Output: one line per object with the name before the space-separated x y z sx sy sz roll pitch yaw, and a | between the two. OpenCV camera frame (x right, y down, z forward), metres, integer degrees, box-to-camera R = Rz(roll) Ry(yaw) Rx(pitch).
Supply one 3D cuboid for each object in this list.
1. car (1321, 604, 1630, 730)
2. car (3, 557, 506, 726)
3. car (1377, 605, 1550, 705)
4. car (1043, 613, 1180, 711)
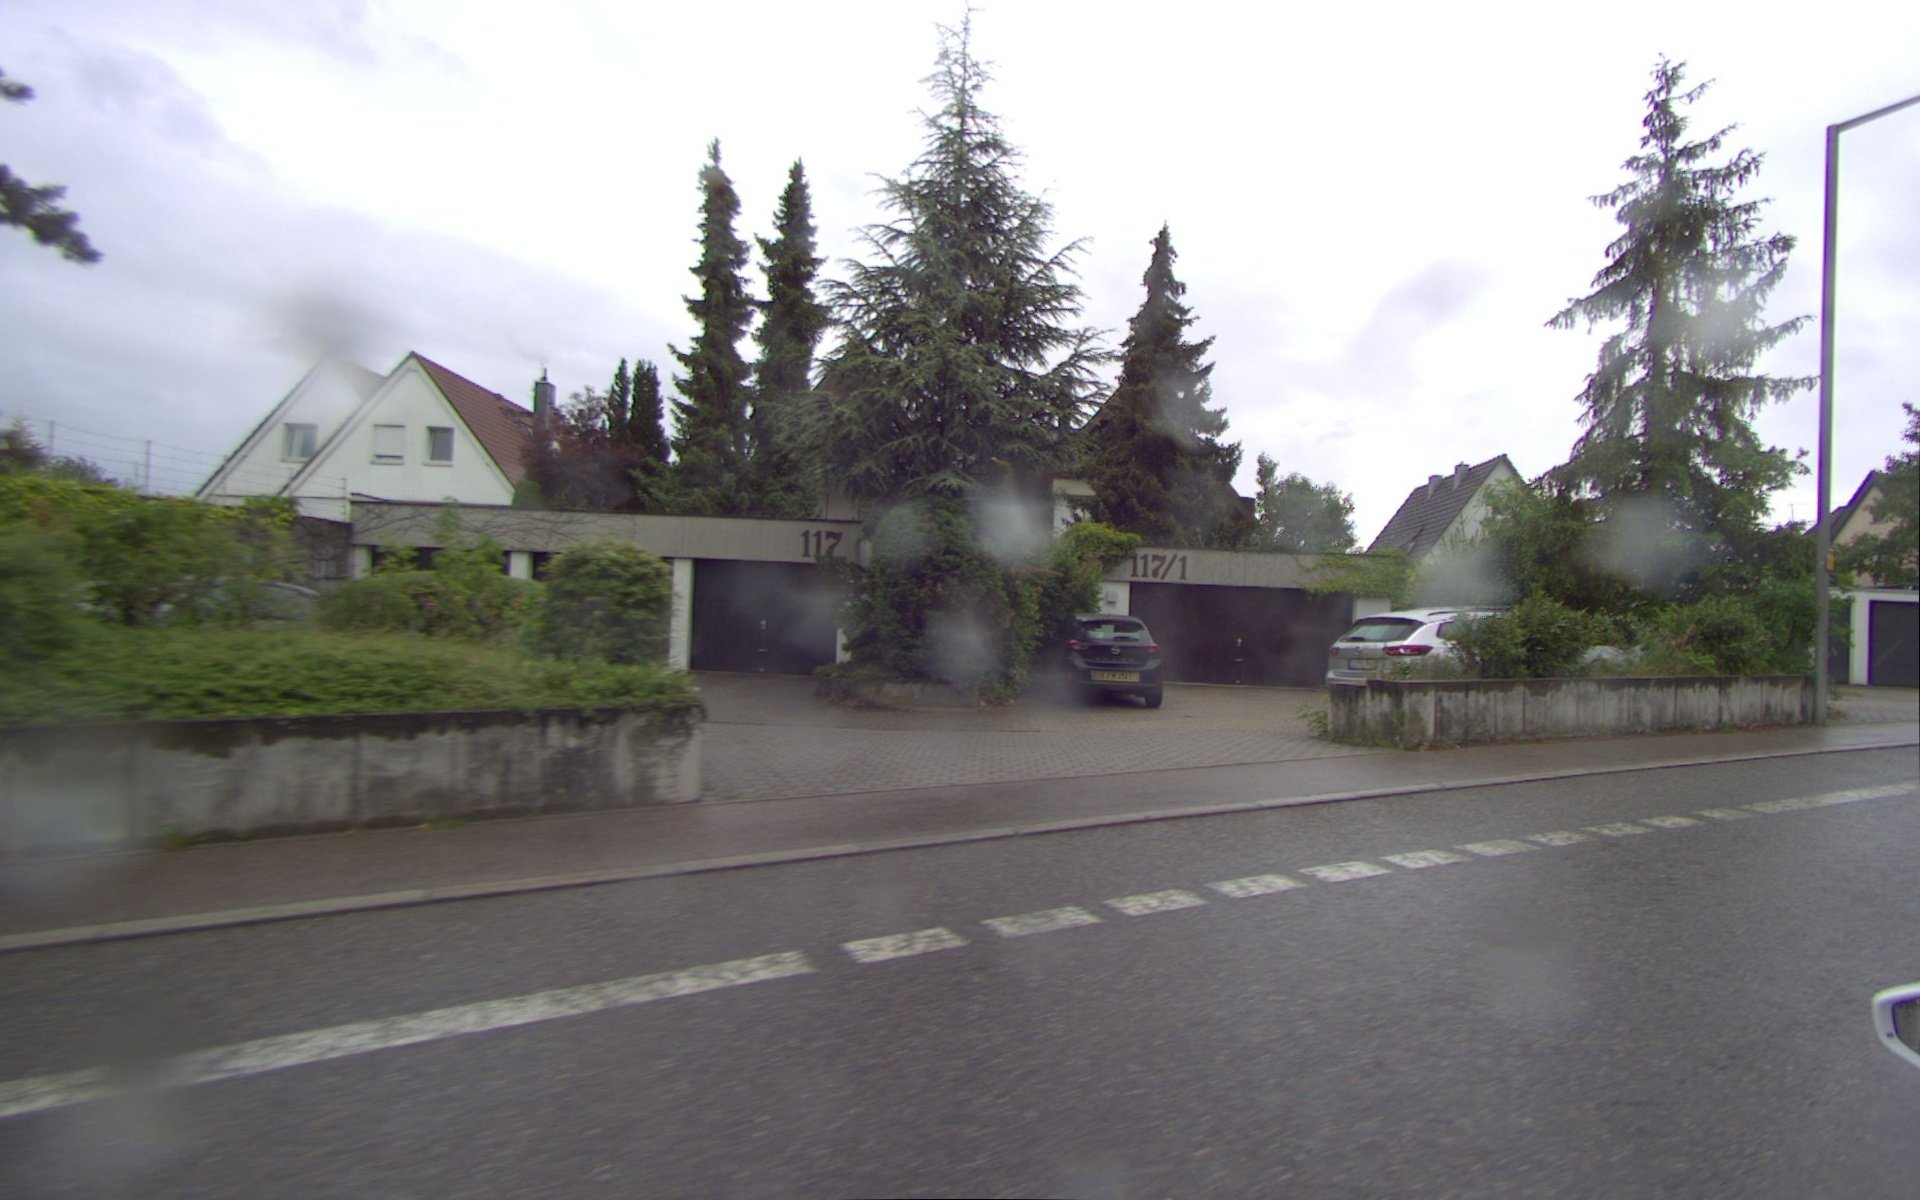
car | 7.222 0.906 14.085 3.942 1.572 1.731 2 -1 -22
car | -7.281 0.451 10.876 3.931 1.595 1.995 1 -1 -13
car | 10.355 1.094 21.018 1.959 1.862 4.003 1 -1 6
car | 2.484 0.984 17.398 1.902 1.456 4.001 1 -1 2
